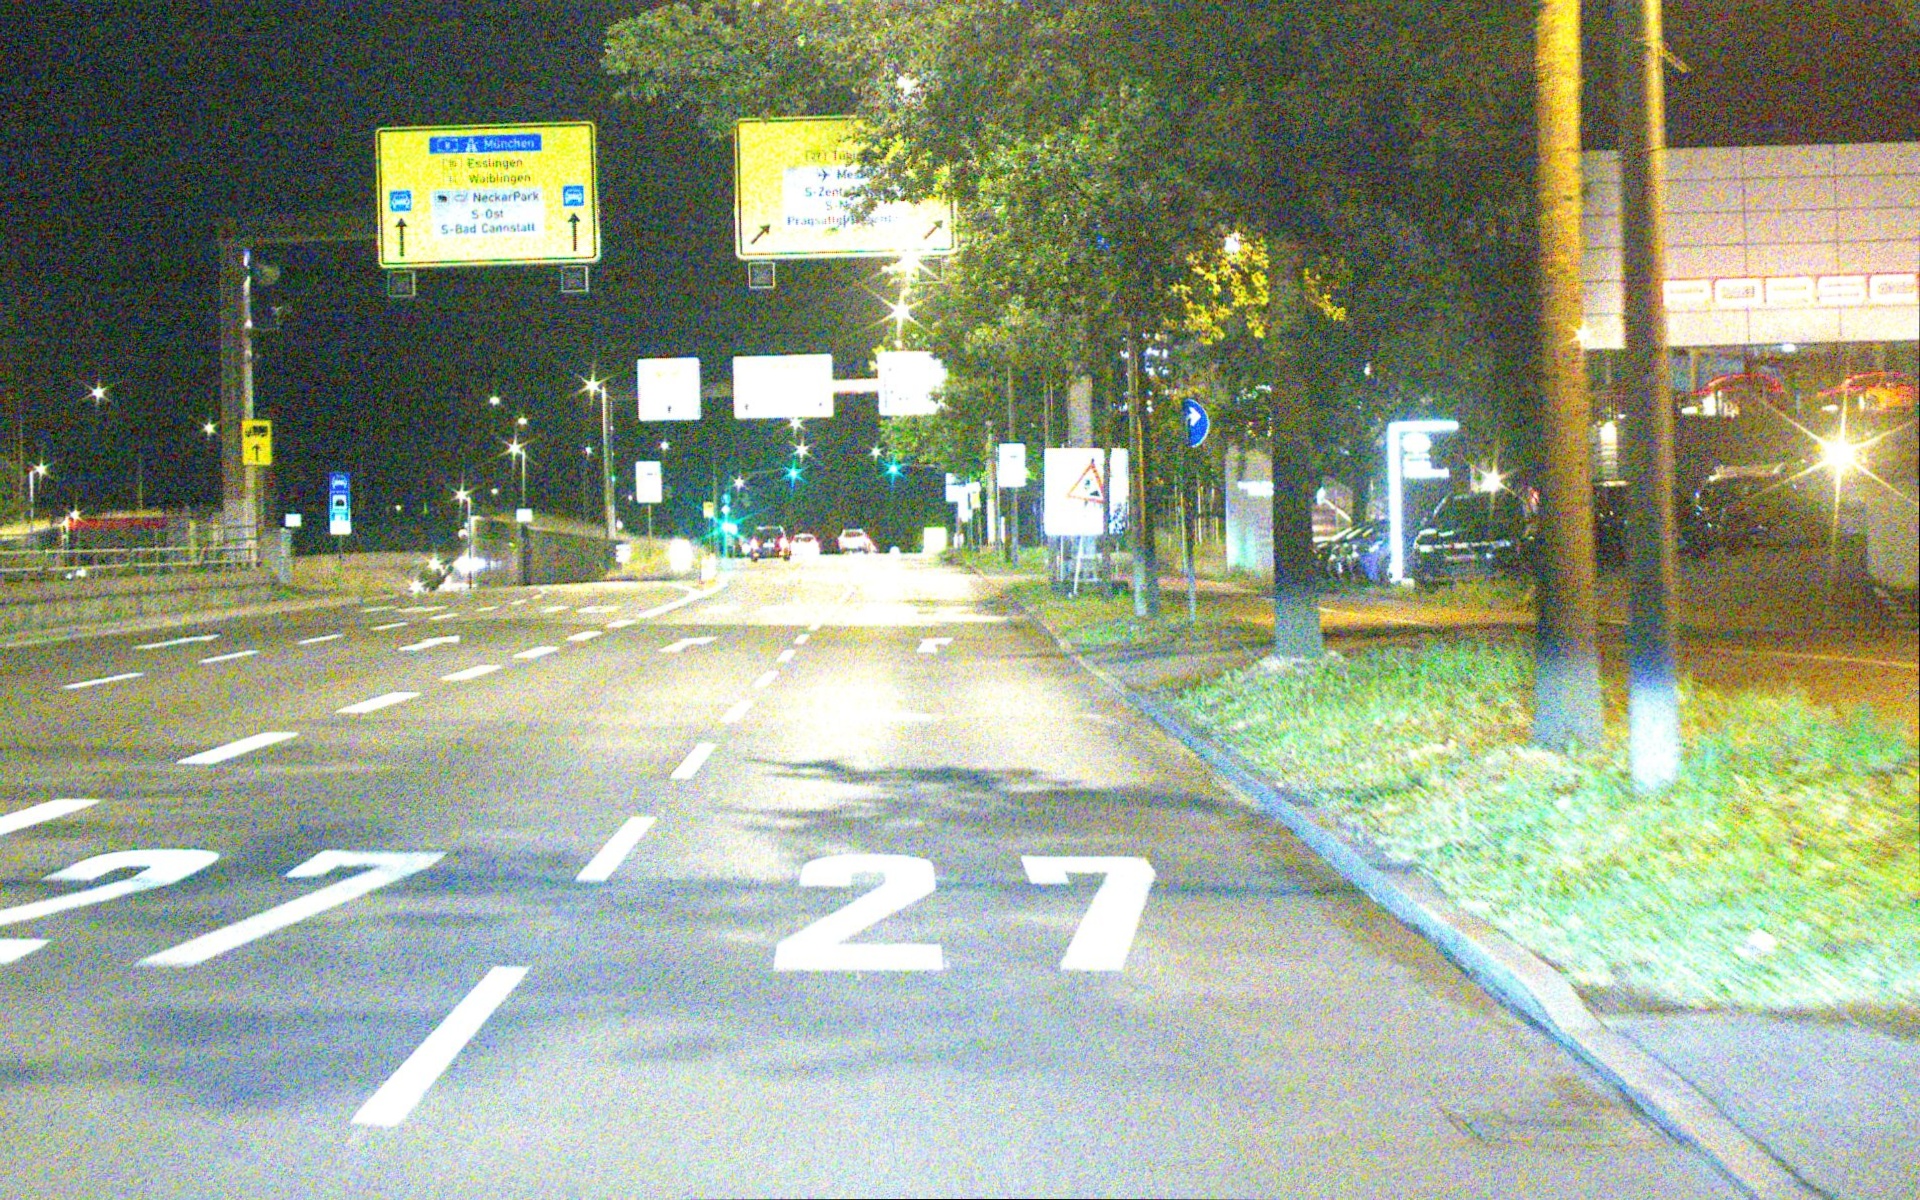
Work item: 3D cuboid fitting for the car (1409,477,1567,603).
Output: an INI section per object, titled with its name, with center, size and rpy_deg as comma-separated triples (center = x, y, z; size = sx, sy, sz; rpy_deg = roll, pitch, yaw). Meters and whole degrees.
[car]
center = 8.632, -0.942, 55.998
size = 1.995, 1.938, 3.997
rpy_deg = 0, 0, 17
